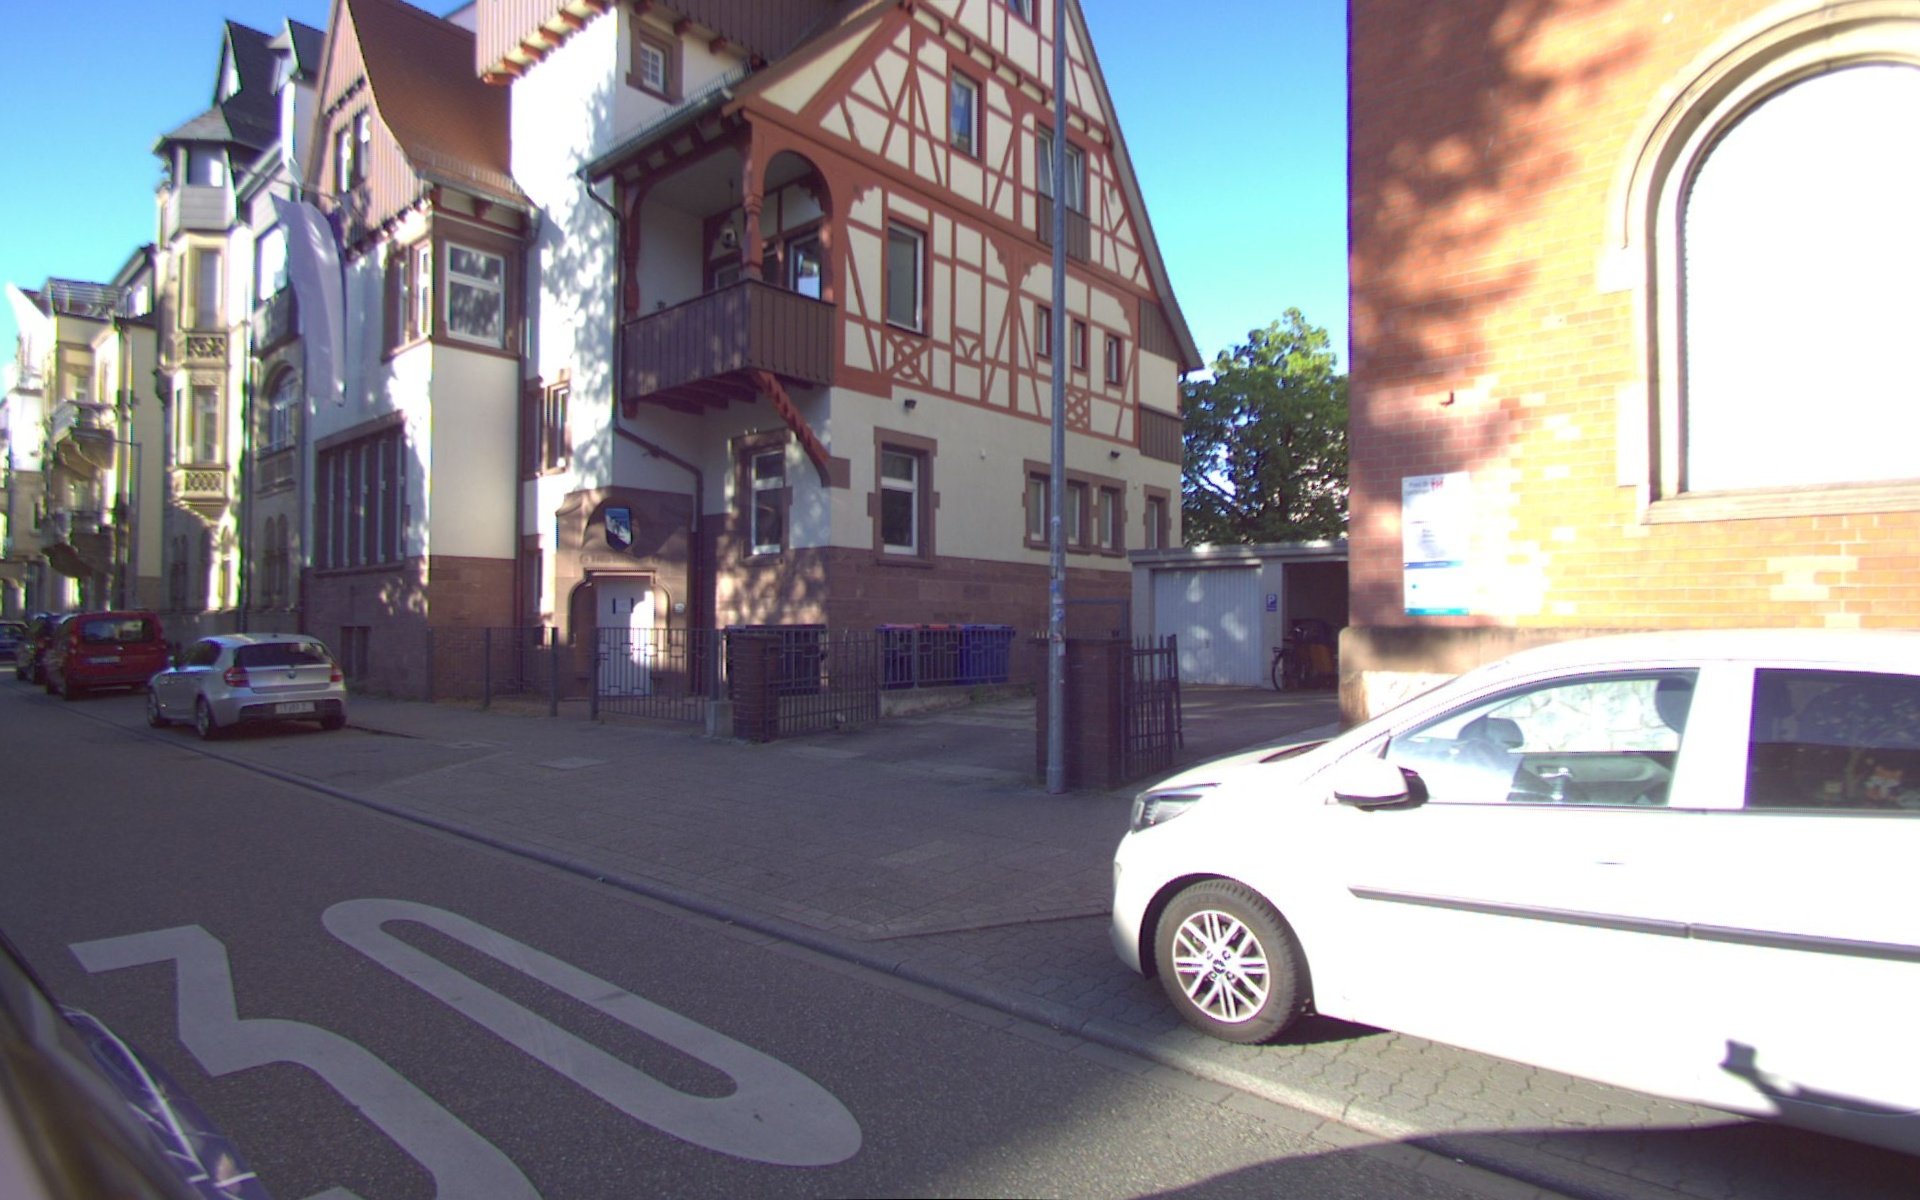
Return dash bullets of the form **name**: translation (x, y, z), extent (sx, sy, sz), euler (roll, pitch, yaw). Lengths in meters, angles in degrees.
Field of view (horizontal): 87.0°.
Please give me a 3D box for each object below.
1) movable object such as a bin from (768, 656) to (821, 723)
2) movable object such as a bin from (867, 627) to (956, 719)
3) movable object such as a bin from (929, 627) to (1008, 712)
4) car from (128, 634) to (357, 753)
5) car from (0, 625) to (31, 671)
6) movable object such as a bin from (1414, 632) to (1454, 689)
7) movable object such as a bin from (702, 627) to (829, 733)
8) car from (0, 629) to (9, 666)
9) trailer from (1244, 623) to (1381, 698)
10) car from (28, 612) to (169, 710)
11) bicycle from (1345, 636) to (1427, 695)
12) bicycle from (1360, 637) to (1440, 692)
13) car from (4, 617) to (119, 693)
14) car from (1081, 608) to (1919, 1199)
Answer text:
- **movable object such as a bin**: translation (-2.342, 1.255, 14.333), extent (0.474, 0.885, 0.674), euler (1, -2, -39)
- **movable object such as a bin**: translation (-0.724, 1.073, 15.415), extent (0.685, 1.327, 1.368), euler (-1, -2, 34)
- **movable object such as a bin**: translation (0.146, 1.092, 16.338), extent (0.631, 1.320, 1.188), euler (-2, -2, 43)
- **car**: translation (-10.623, 1.257, 14.890), extent (4.099, 1.477, 1.726), euler (-1, -2, 39)
- **car**: translation (-33.881, 1.697, 35.449), extent (2.860, 1.520, 1.666), euler (-1, 1, 41)
- **movable object such as a bin**: translation (9.624, 1.214, 20.538), extent (0.537, 1.133, 0.768), euler (-2, -2, 40)
- **movable object such as a bin**: translation (-2.581, 1.018, 13.437), extent (1.358, 1.309, 0.970), euler (1, -2, -39)
- **car**: translation (-40.405, 1.953, 41.275), extent (4.539, 1.449, 1.881), euler (-1, 1, 41)
- **trailer**: translation (6.086, 1.044, 17.415), extent (2.370, 1.228, 0.774), euler (3, -3, -26)
- **car**: translation (-18.968, 1.256, 22.228), extent (4.323, 1.921, 1.779), euler (-1, -1, 42)
- **bicycle**: translation (7.967, 1.212, 18.991), extent (0.662, 1.026, 1.376), euler (3, -3, -18)
- **bicycle**: translation (8.450, 1.217, 19.485), extent (0.534, 0.999, 1.489), euler (3, -3, -18)
- **car**: translation (-23.929, 1.398, 26.888), extent (4.540, 1.866, 1.751), euler (-2, -2, 42)
- **car**: translation (2.452, 0.794, 3.319), extent (3.796, 1.497, 1.687), euler (-1, 0, 42)
